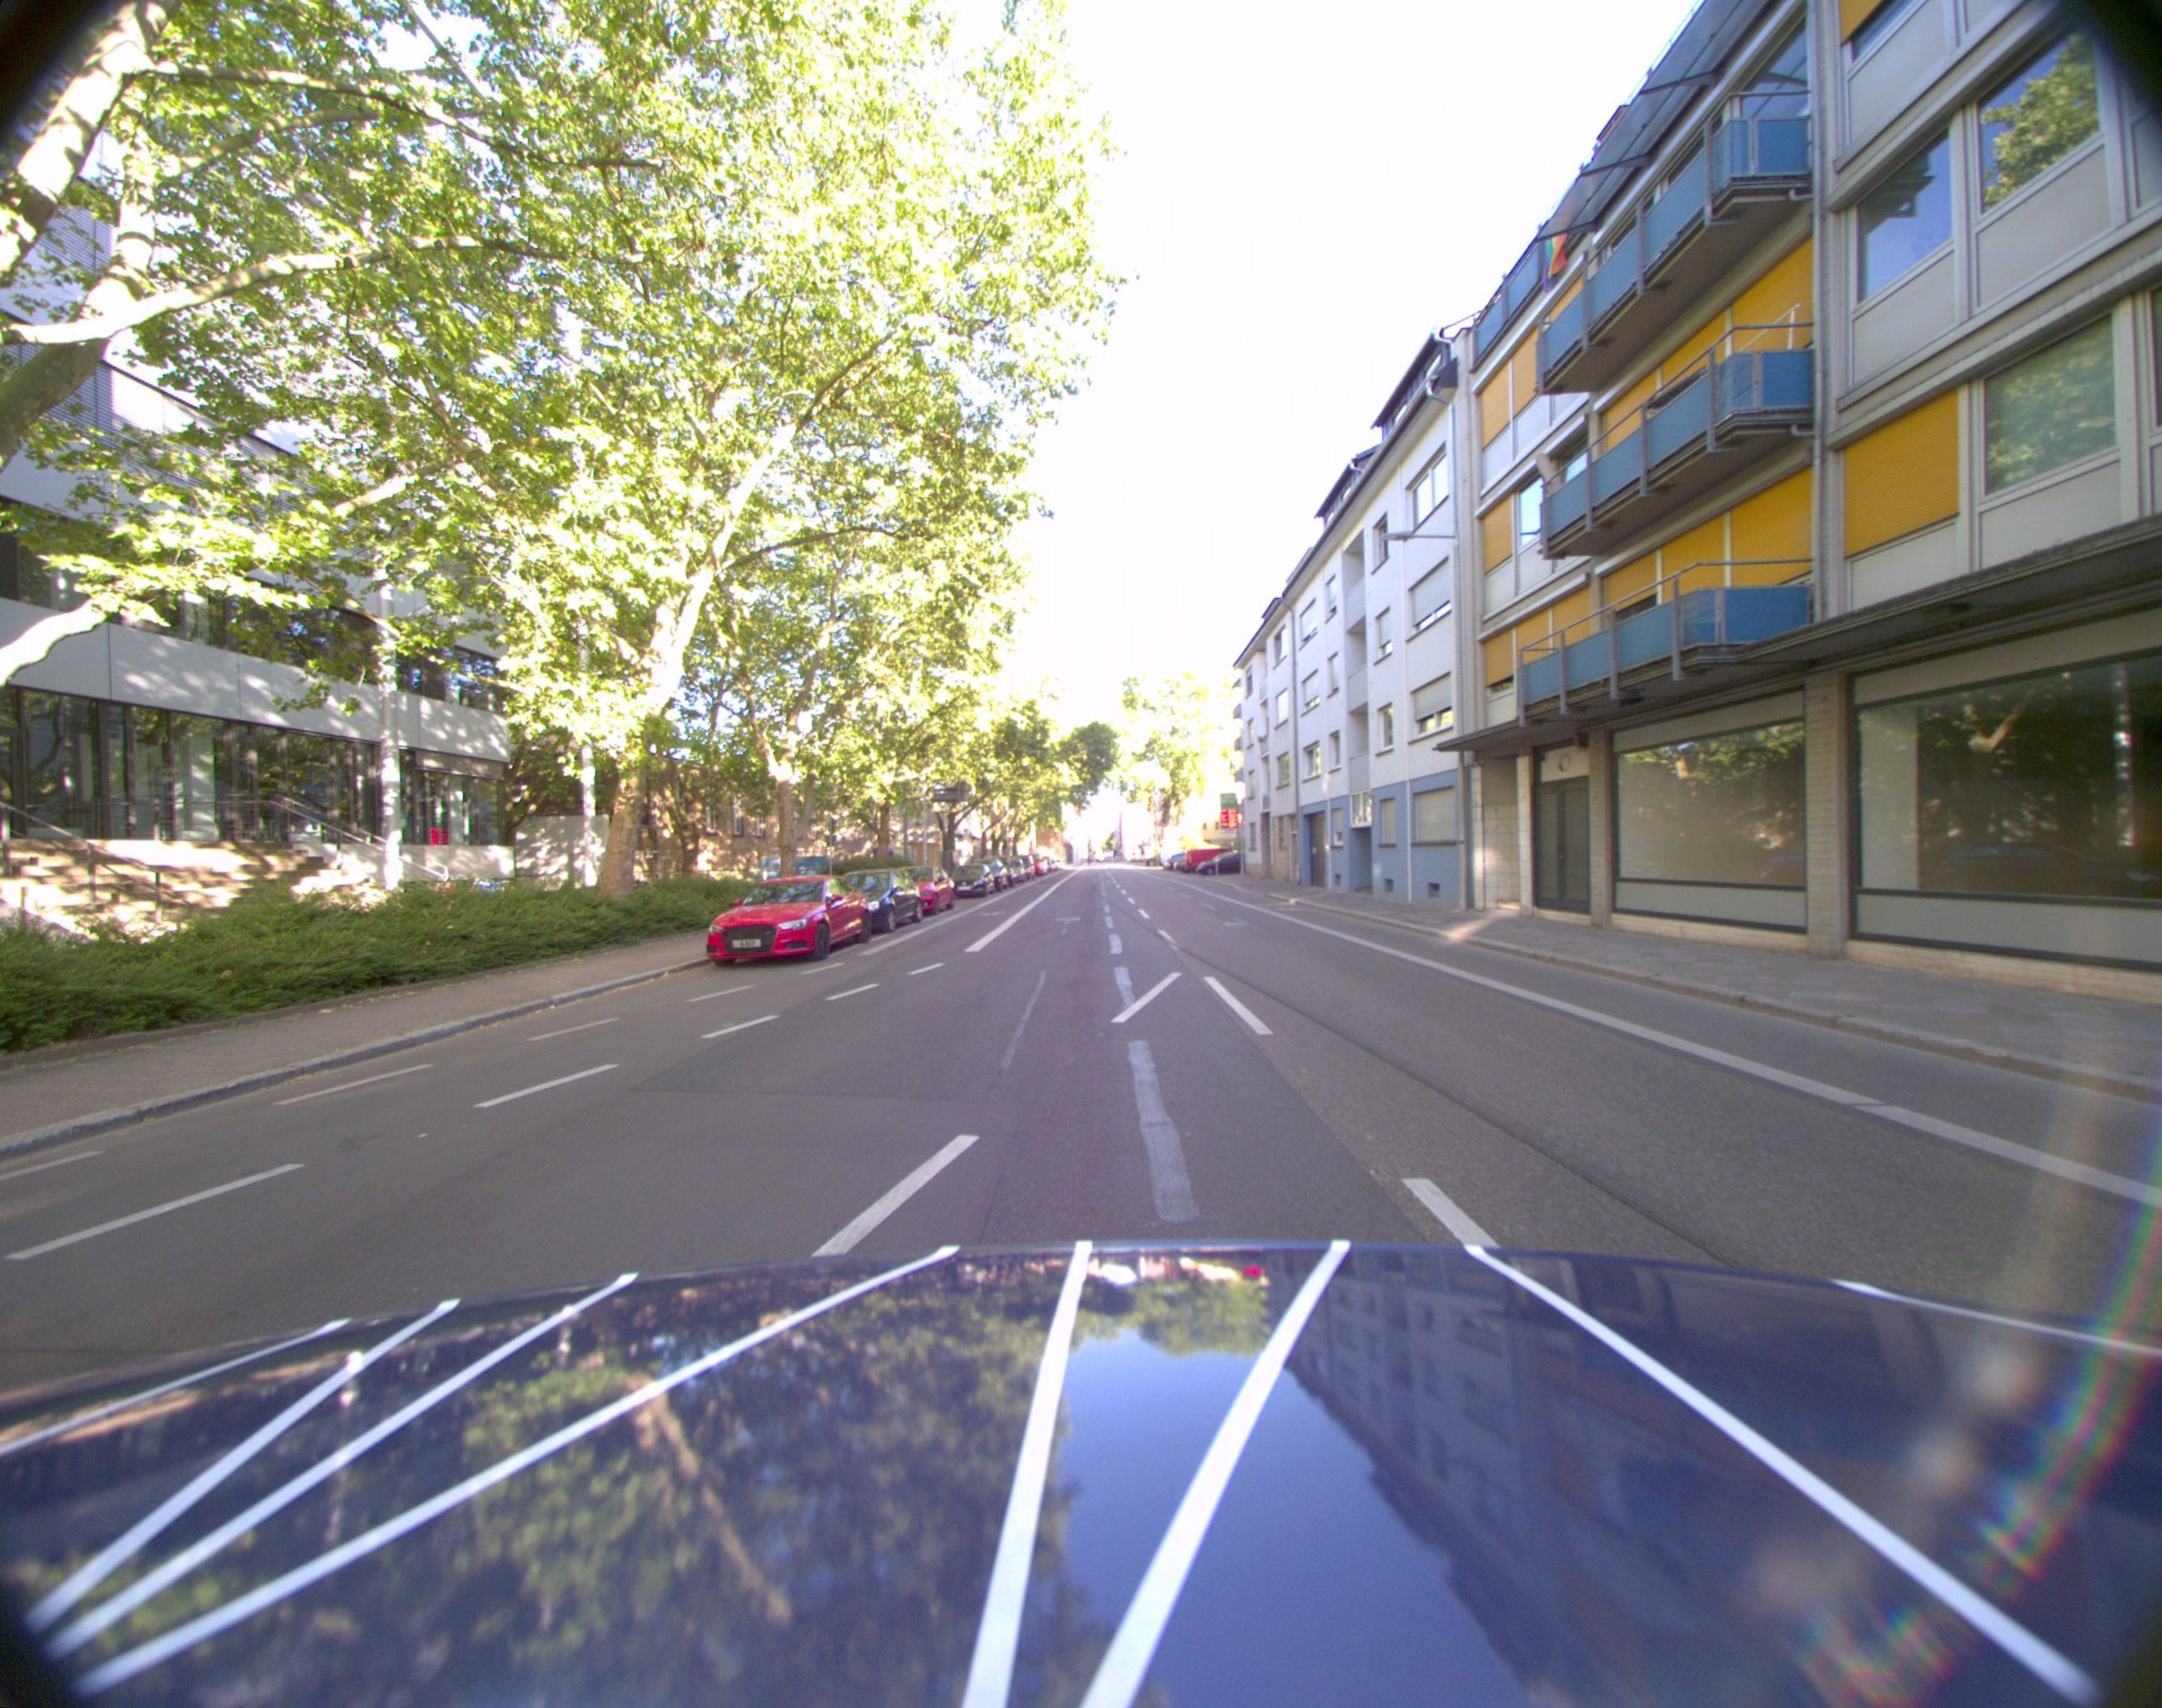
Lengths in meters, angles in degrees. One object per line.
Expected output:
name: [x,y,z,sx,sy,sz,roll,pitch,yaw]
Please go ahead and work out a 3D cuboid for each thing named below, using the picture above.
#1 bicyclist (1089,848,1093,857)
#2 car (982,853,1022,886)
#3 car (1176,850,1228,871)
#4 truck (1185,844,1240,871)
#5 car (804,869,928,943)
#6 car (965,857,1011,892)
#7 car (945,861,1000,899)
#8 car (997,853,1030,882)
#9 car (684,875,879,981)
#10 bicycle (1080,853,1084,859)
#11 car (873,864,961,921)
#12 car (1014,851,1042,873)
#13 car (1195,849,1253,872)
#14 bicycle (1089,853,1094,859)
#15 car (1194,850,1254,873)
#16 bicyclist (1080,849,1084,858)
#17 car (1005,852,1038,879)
bicyclist: [1.847,-0.217,136.921,0.718,1.573,0.936,-2,1,1]
car: [-4.526,0.874,44.146,1.790,1.745,4.345,-3,0,0]
car: [9.976,0.530,62.842,3.996,1.494,1.761,-2,1,2]
truck: [10.366,0.249,59.989,3.996,1.925,1.761,-2,1,2]
car: [-5.085,1.173,18.574,1.818,1.405,4.163,-3,0,0]
car: [-4.603,0.982,38.130,1.790,1.544,4.163,-3,0,0]
car: [-4.704,1.082,33.384,1.790,1.451,4.163,-3,0,0]
car: [-4.448,0.857,50.702,1.790,1.745,4.552,-3,0,0]
car: [-5.140,1.195,13.718,1.818,1.405,4.163,-3,0,0]
bicycle: [0.162,0.356,136.831,0.717,1.052,2.485,-2,1,1]
car: [-5.032,1.127,23.857,1.818,1.475,4.163,-3,0,0]
car: [-4.593,0.706,66.091,2.042,1.745,4.552,-3,0,0]
car: [10.726,0.483,57.140,3.996,1.494,1.761,-2,1,2]
bicycle: [1.882,0.298,136.913,0.717,1.052,2.485,-2,1,1]
car: [10.252,0.549,54.793,3.996,1.449,1.761,-2,1,2]
bicyclist: [0.128,-0.139,136.785,0.718,1.573,0.936,-2,1,1]
car: [-4.319,0.802,55.660,2.042,1.745,4.552,-3,0,0]
